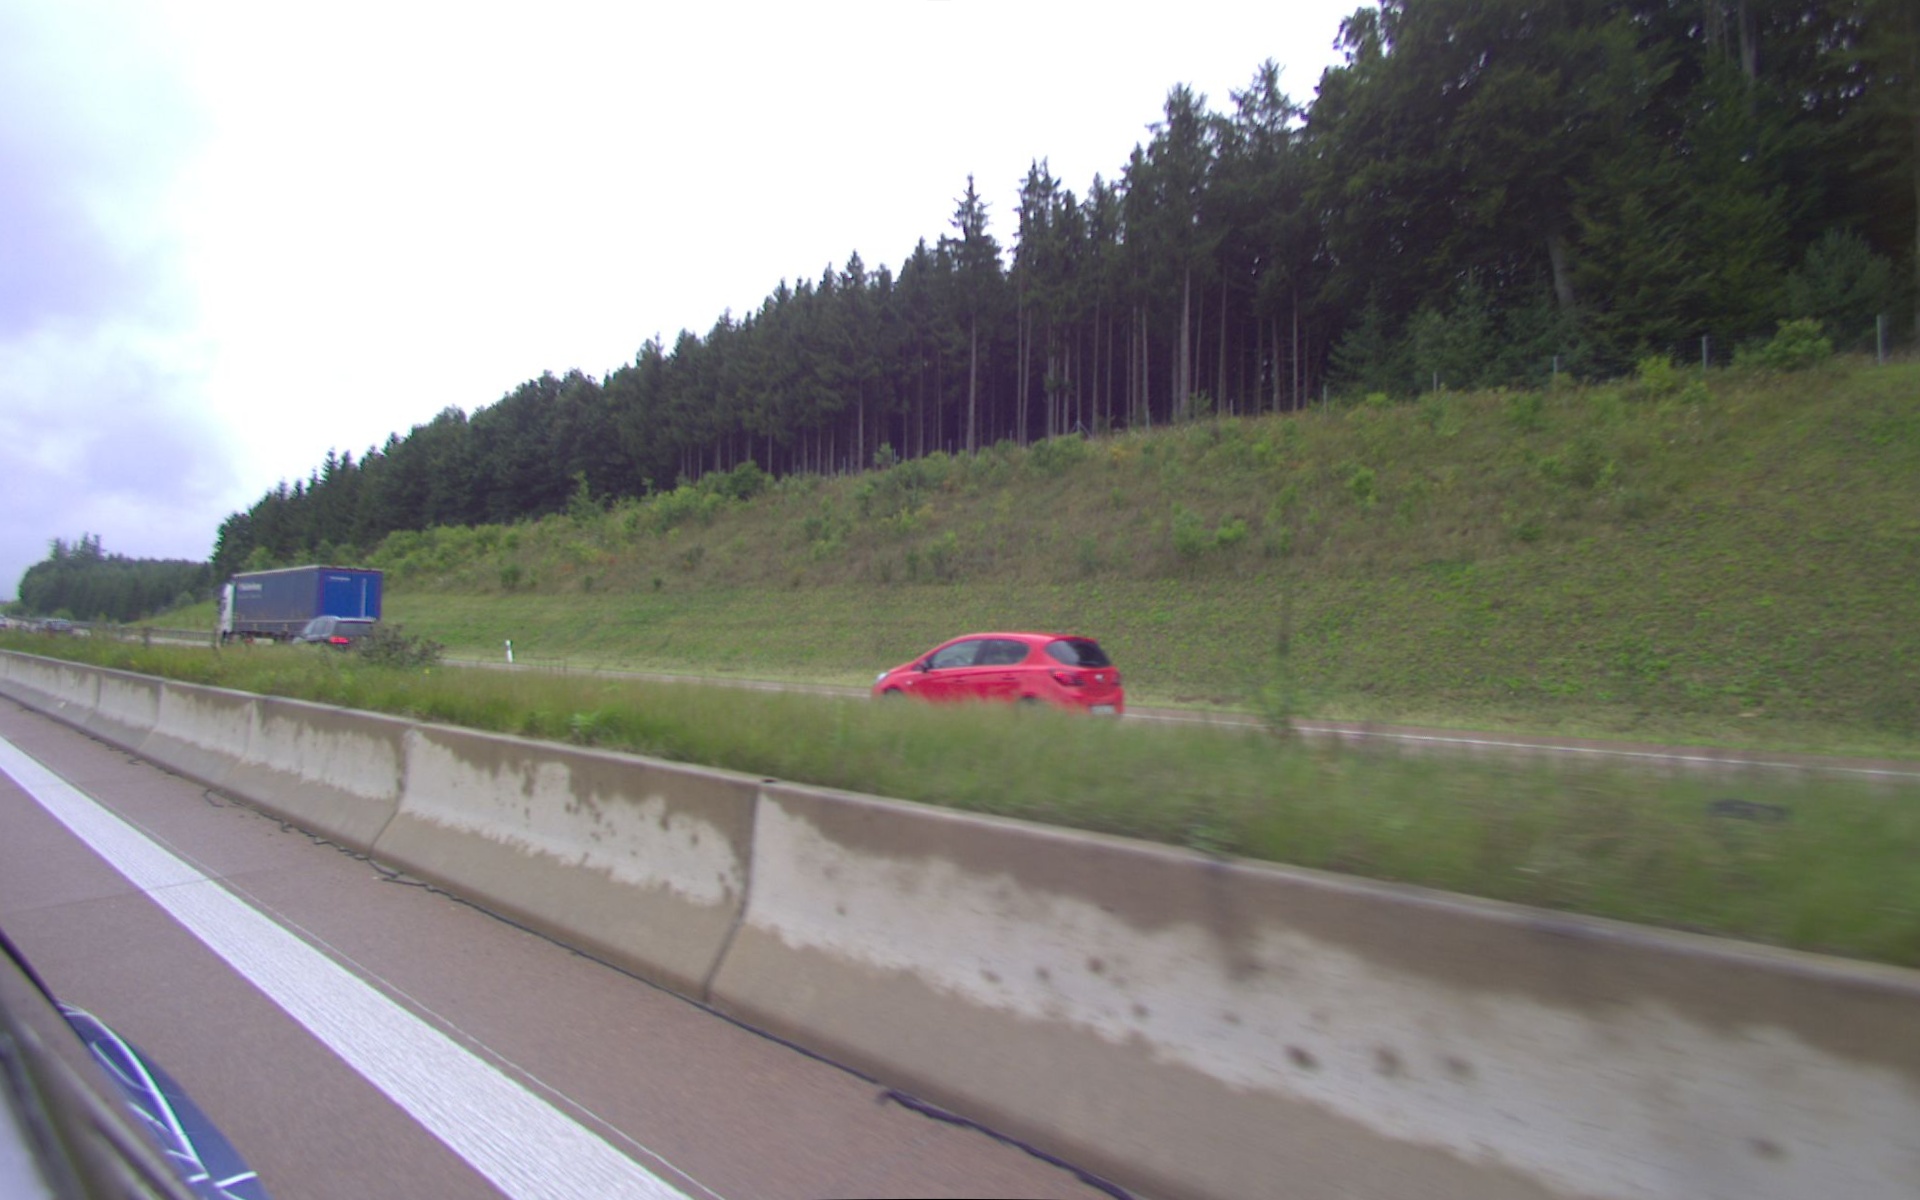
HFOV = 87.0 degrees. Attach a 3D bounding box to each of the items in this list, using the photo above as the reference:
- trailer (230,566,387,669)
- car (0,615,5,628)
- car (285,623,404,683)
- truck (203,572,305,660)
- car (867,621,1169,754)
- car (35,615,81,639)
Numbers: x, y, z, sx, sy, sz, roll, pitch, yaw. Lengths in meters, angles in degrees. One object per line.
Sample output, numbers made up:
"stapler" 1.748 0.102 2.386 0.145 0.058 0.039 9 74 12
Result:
"trailer" -31.628 0.789 48.724 13.576 4.372 2.888 0 -1 42
"car" -124.170 2.729 129.925 4.951 1.736 1.794 0 -2 42
"car" -20.107 1.675 32.956 5.093 1.780 1.972 -2 -2 42
"truck" -38.194 0.802 54.645 7.401 4.423 2.893 0 0 42
"car" 0.712 1.113 14.370 4.115 1.540 1.708 0 0 41
"car" -70.626 2.085 79.223 6.382 1.705 2.027 0 0 42
